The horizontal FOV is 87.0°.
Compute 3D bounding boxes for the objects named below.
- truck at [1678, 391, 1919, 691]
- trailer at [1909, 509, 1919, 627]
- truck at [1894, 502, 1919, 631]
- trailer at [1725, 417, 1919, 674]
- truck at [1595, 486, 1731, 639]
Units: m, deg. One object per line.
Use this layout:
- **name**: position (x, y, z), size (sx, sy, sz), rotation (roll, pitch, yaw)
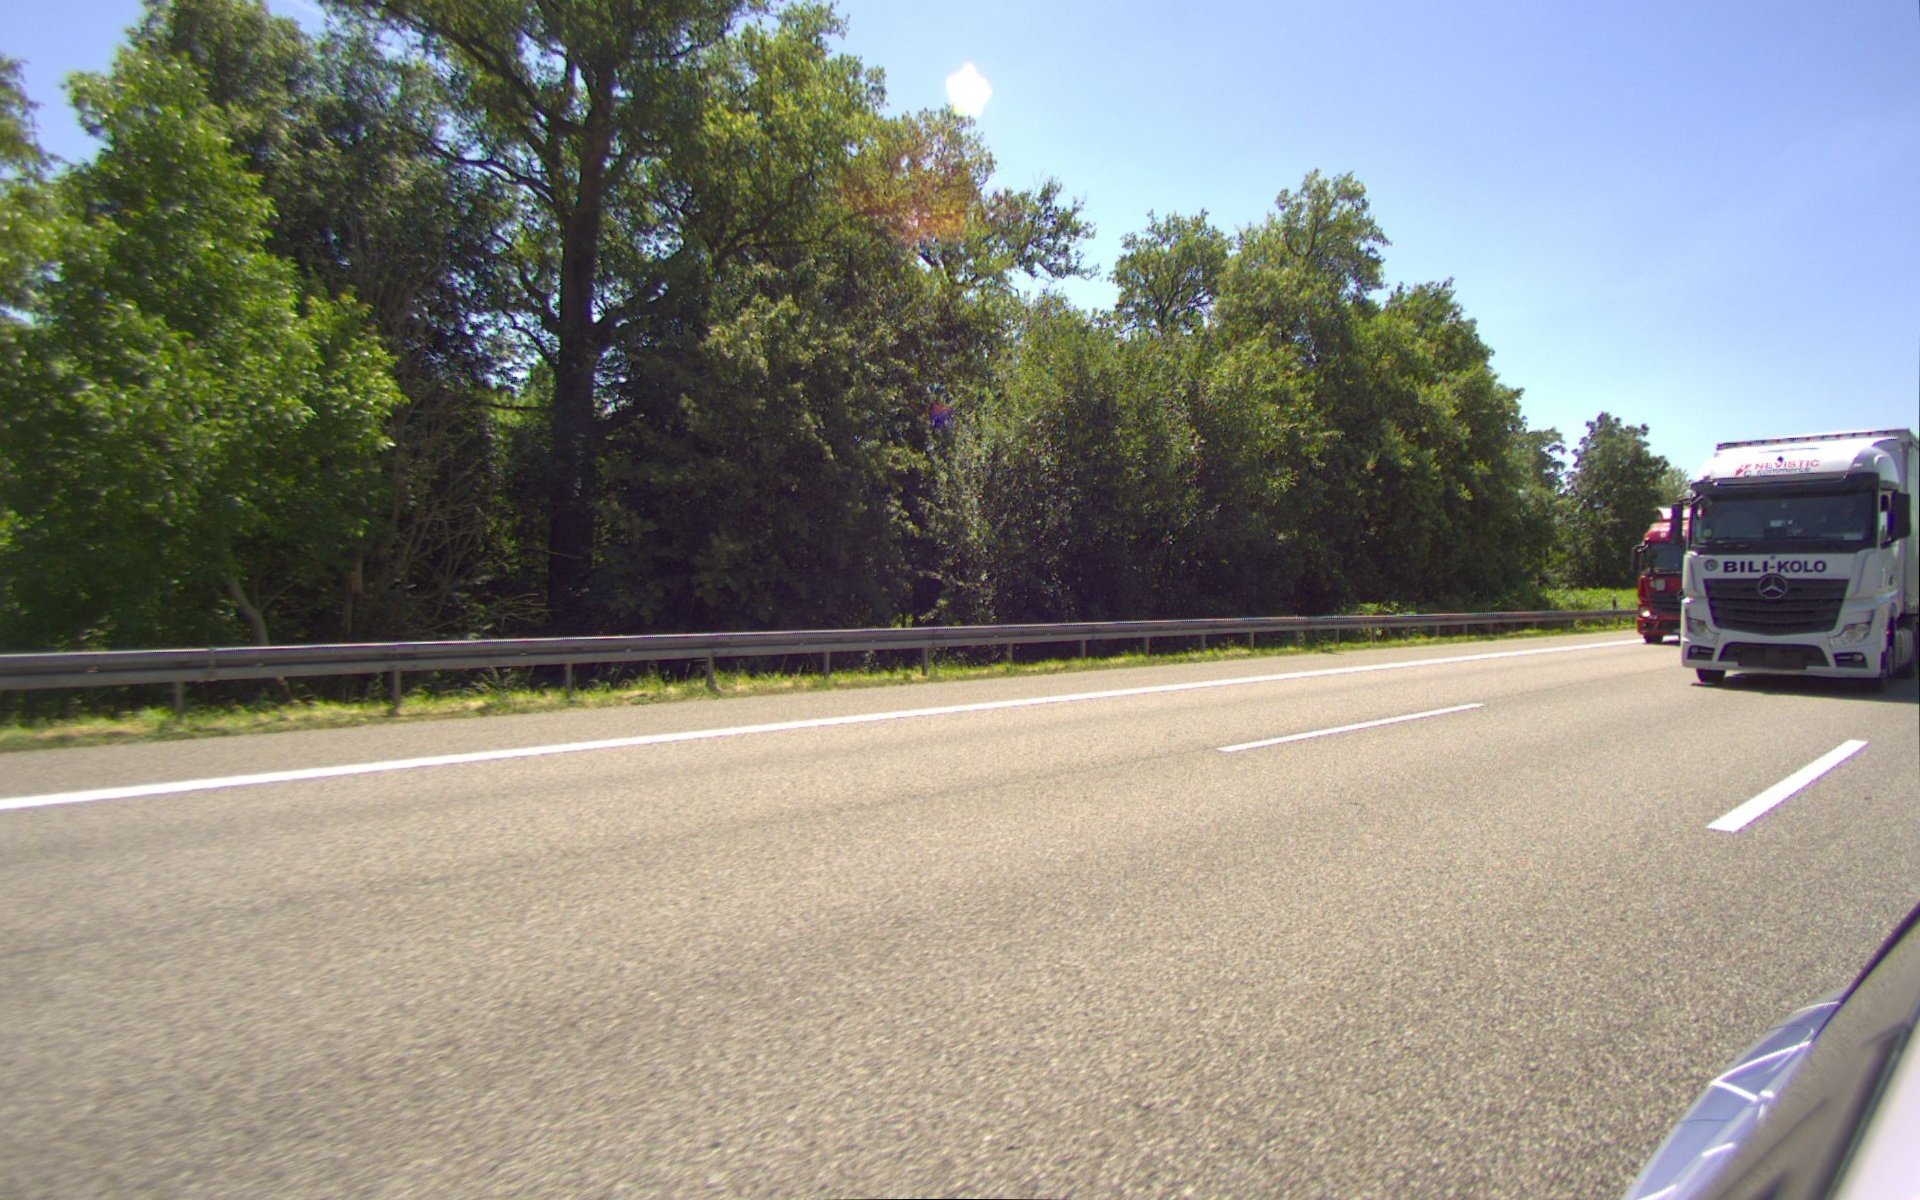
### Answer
- **truck**: position (14.635, -0.903, 17.143), size (6.343, 4.145, 2.704), rotation (-1, 1, -42)
- **trailer**: position (38.682, -1.163, 38.521), size (12.354, 4.086, 2.798), rotation (-1, 1, -43)
- **truck**: position (32.995, -1.070, 33.312), size (5.918, 4.057, 2.803), rotation (-1, 1, -42)
- **trailer**: position (20.014, -1.044, 21.993), size (14.494, 4.119, 2.712), rotation (-2, 2, -42)
- **truck**: position (21.350, -1.078, 30.665), size (4.592, 4.284, 2.332), rotation (0, 1, -42)
